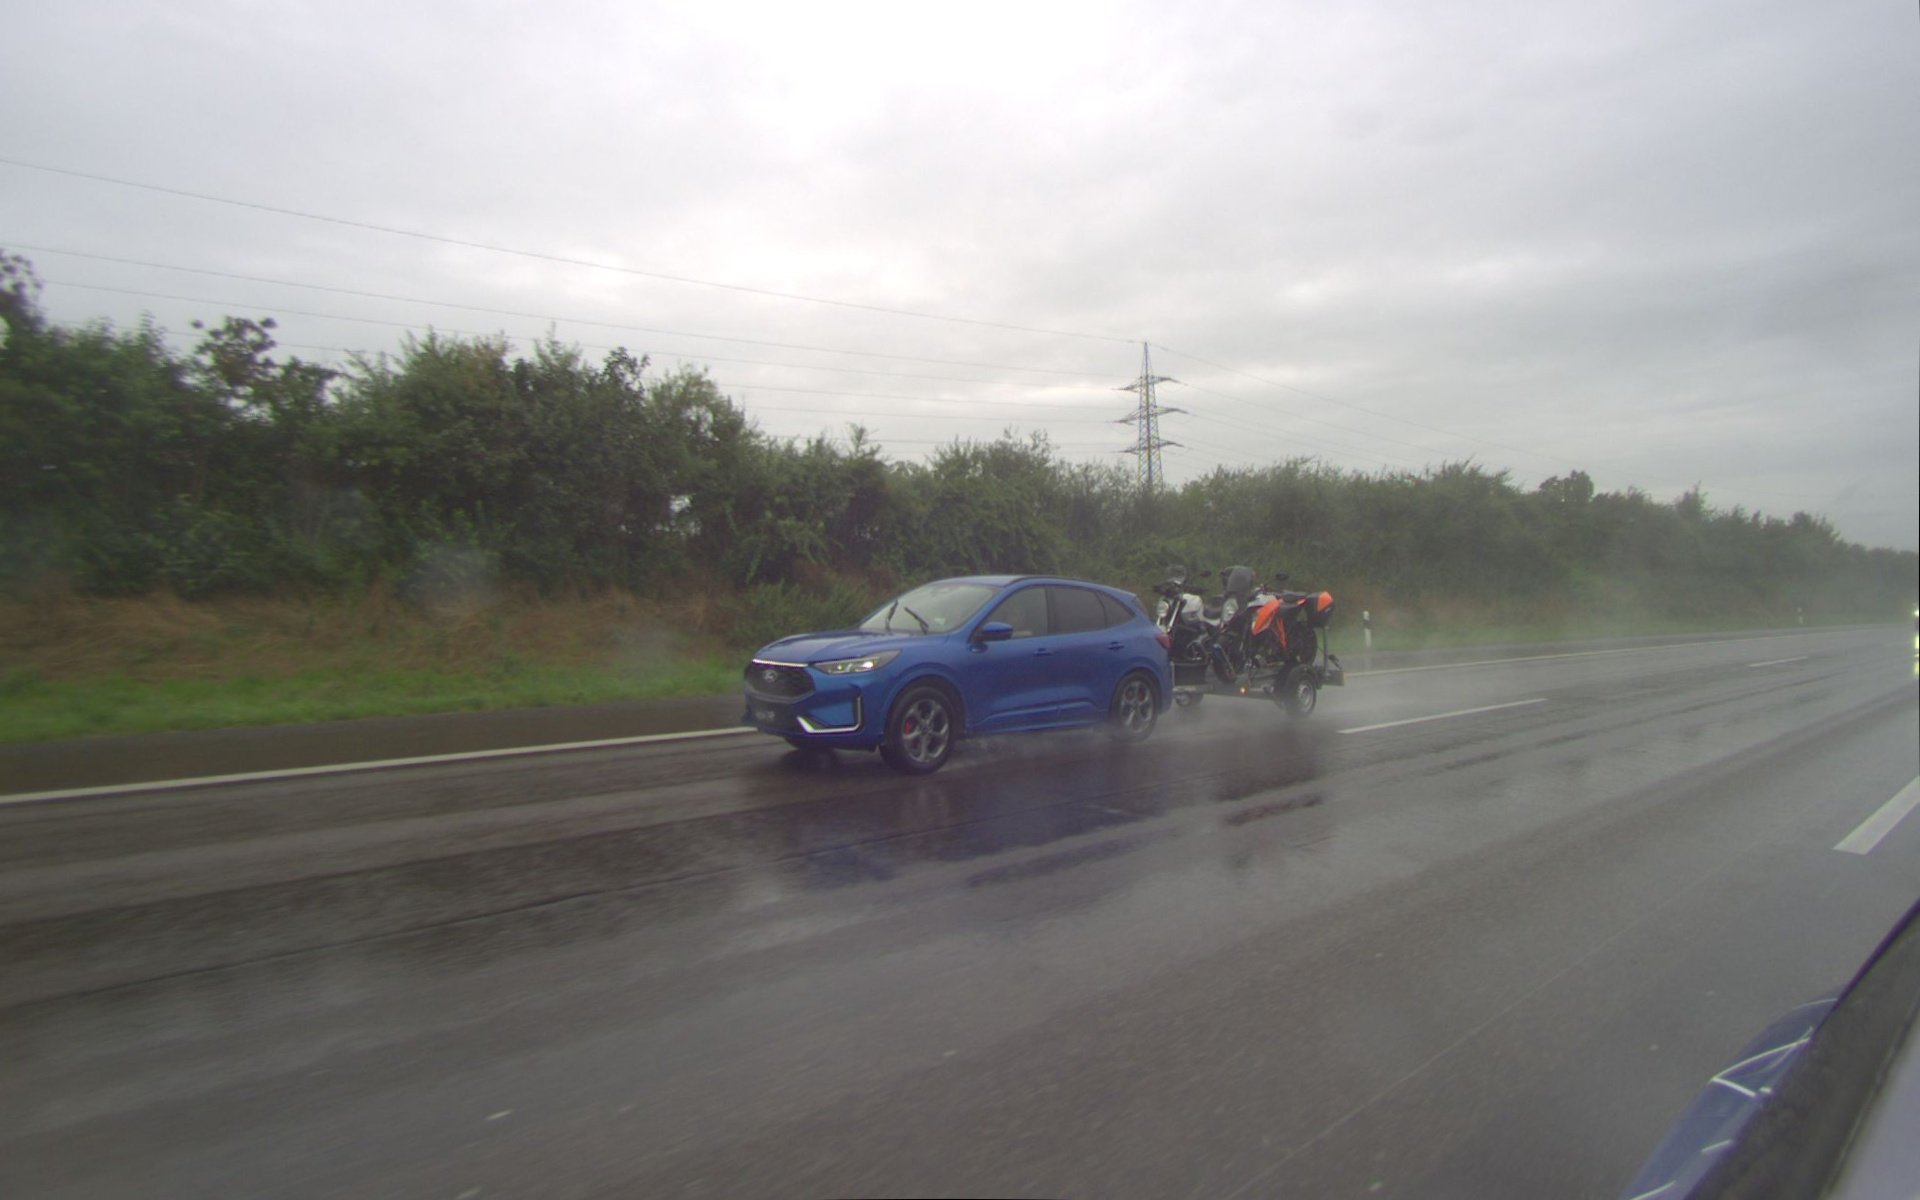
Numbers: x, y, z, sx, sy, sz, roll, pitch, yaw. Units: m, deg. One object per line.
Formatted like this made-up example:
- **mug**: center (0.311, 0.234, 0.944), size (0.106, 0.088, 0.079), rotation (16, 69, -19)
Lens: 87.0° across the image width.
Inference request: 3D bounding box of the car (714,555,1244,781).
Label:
- **car**: center (0.362, 0.462, 9.643), size (4.901, 1.639, 1.999), rotation (-1, 1, -38)

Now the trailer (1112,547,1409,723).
- **trailer**: center (3.643, 0.337, 12.175), size (3.130, 1.807, 1.984), rotation (-1, 1, -37)
